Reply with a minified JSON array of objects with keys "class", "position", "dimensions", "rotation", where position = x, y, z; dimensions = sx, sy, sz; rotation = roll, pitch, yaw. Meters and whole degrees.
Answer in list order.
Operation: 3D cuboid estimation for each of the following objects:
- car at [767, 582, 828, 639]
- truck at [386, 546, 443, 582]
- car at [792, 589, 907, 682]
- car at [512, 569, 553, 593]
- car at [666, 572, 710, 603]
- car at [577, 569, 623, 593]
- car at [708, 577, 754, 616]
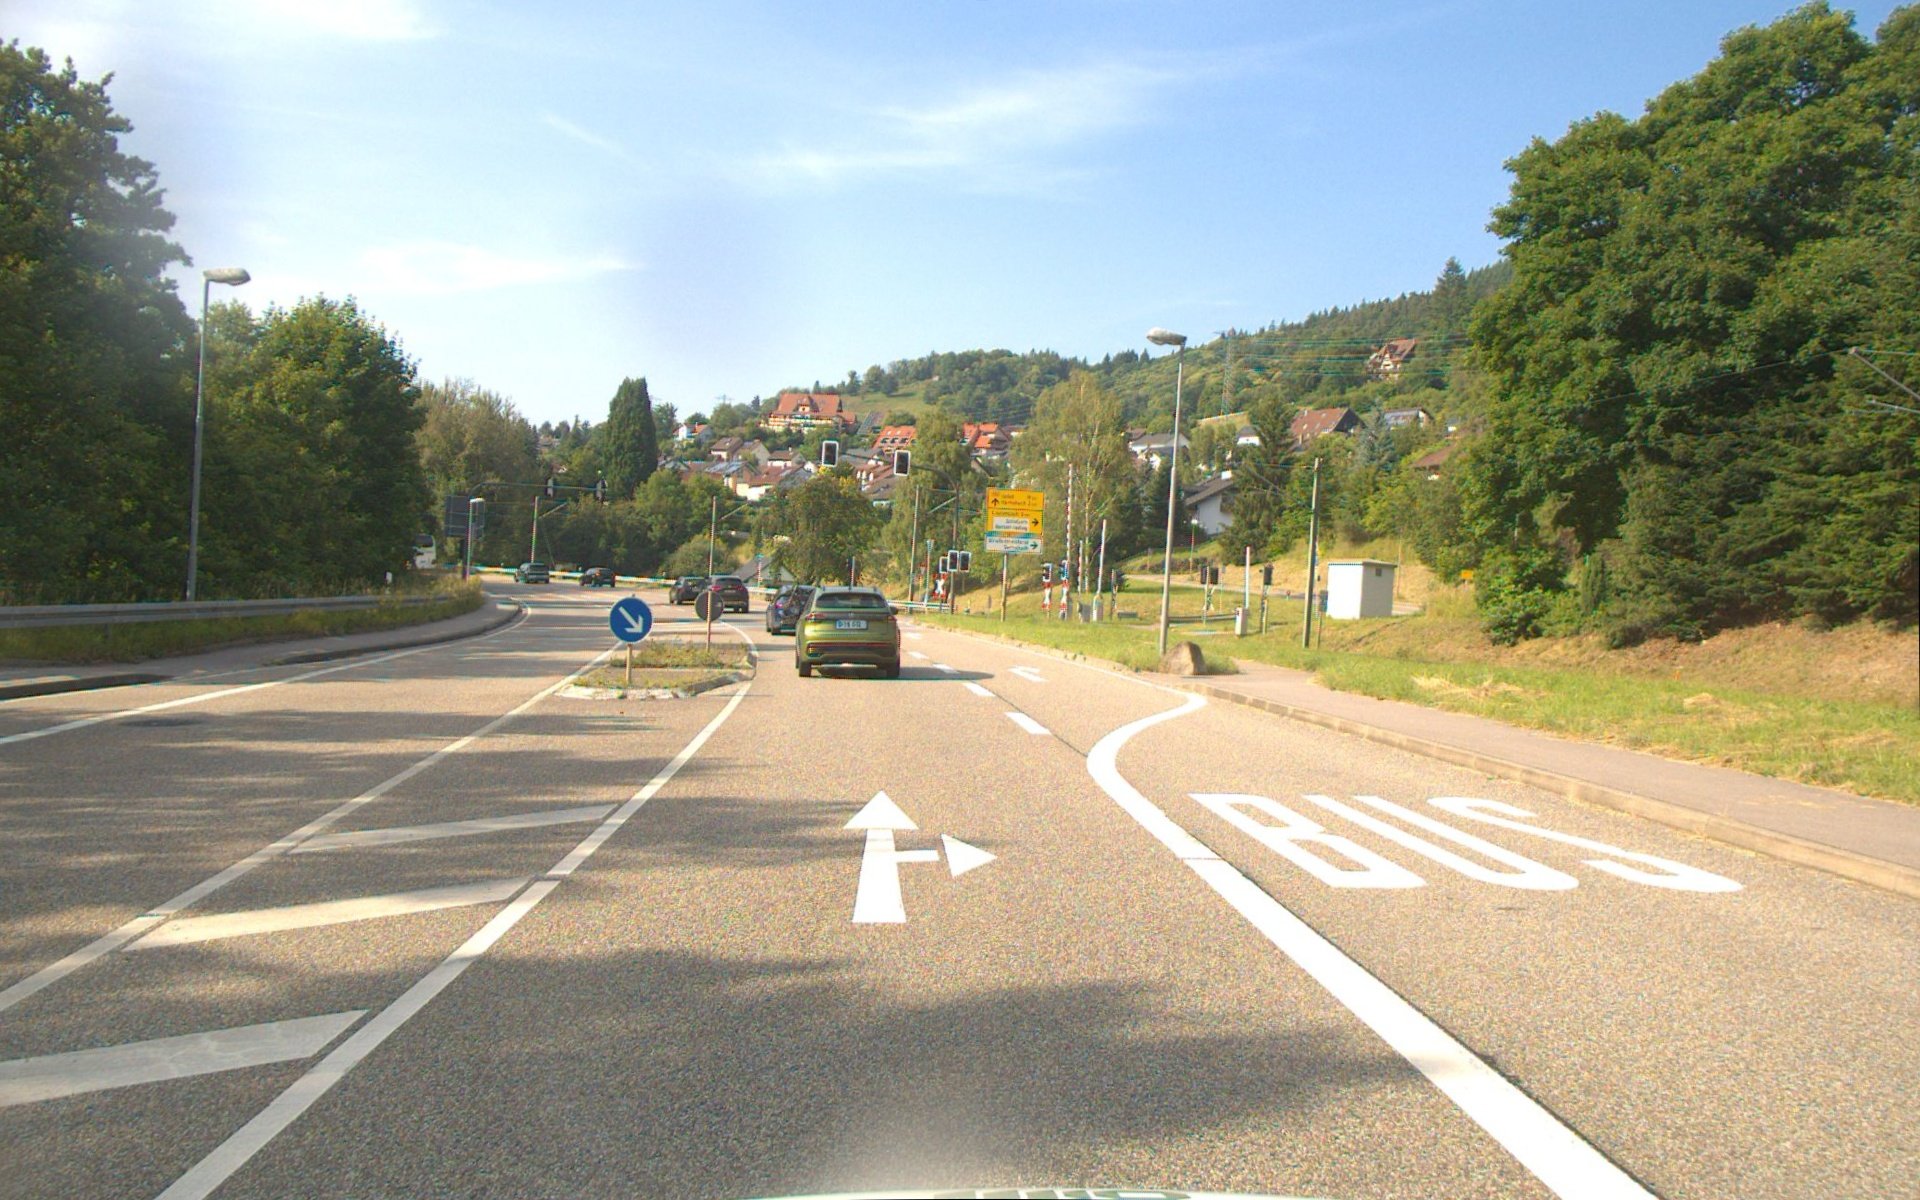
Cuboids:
[{"class":"car","position":[-4.825,0.287,48.748],"dimensions":[1.636,1.586,3.993],"rotation":[1,0,-8]},{"class":"truck","position":[-51.596,-3.433,156.435],"dimensions":[2.701,3.138,6.008],"rotation":[2,0,-45]},{"class":"car","position":[-1.979,0.562,28.659],"dimensions":[1.682,1.480,3.993],"rotation":[1,0,-8]},{"class":"car","position":[-34.598,-1.561,133.765],"dimensions":[2.045,1.842,3.954],"rotation":[1,1,-34]},{"class":"car","position":[-14.538,-0.695,88.282],"dimensions":[1.820,1.553,3.645],"rotation":[-1,2,-17]},{"class":"car","position":[-27.832,-1.487,127.931],"dimensions":[1.979,1.775,3.947],"rotation":[2,0,-37]},{"class":"car","position":[-10.349,-0.166,74.502],"dimensions":[1.846,1.716,3.990],"rotation":[0,1,-11]}]
